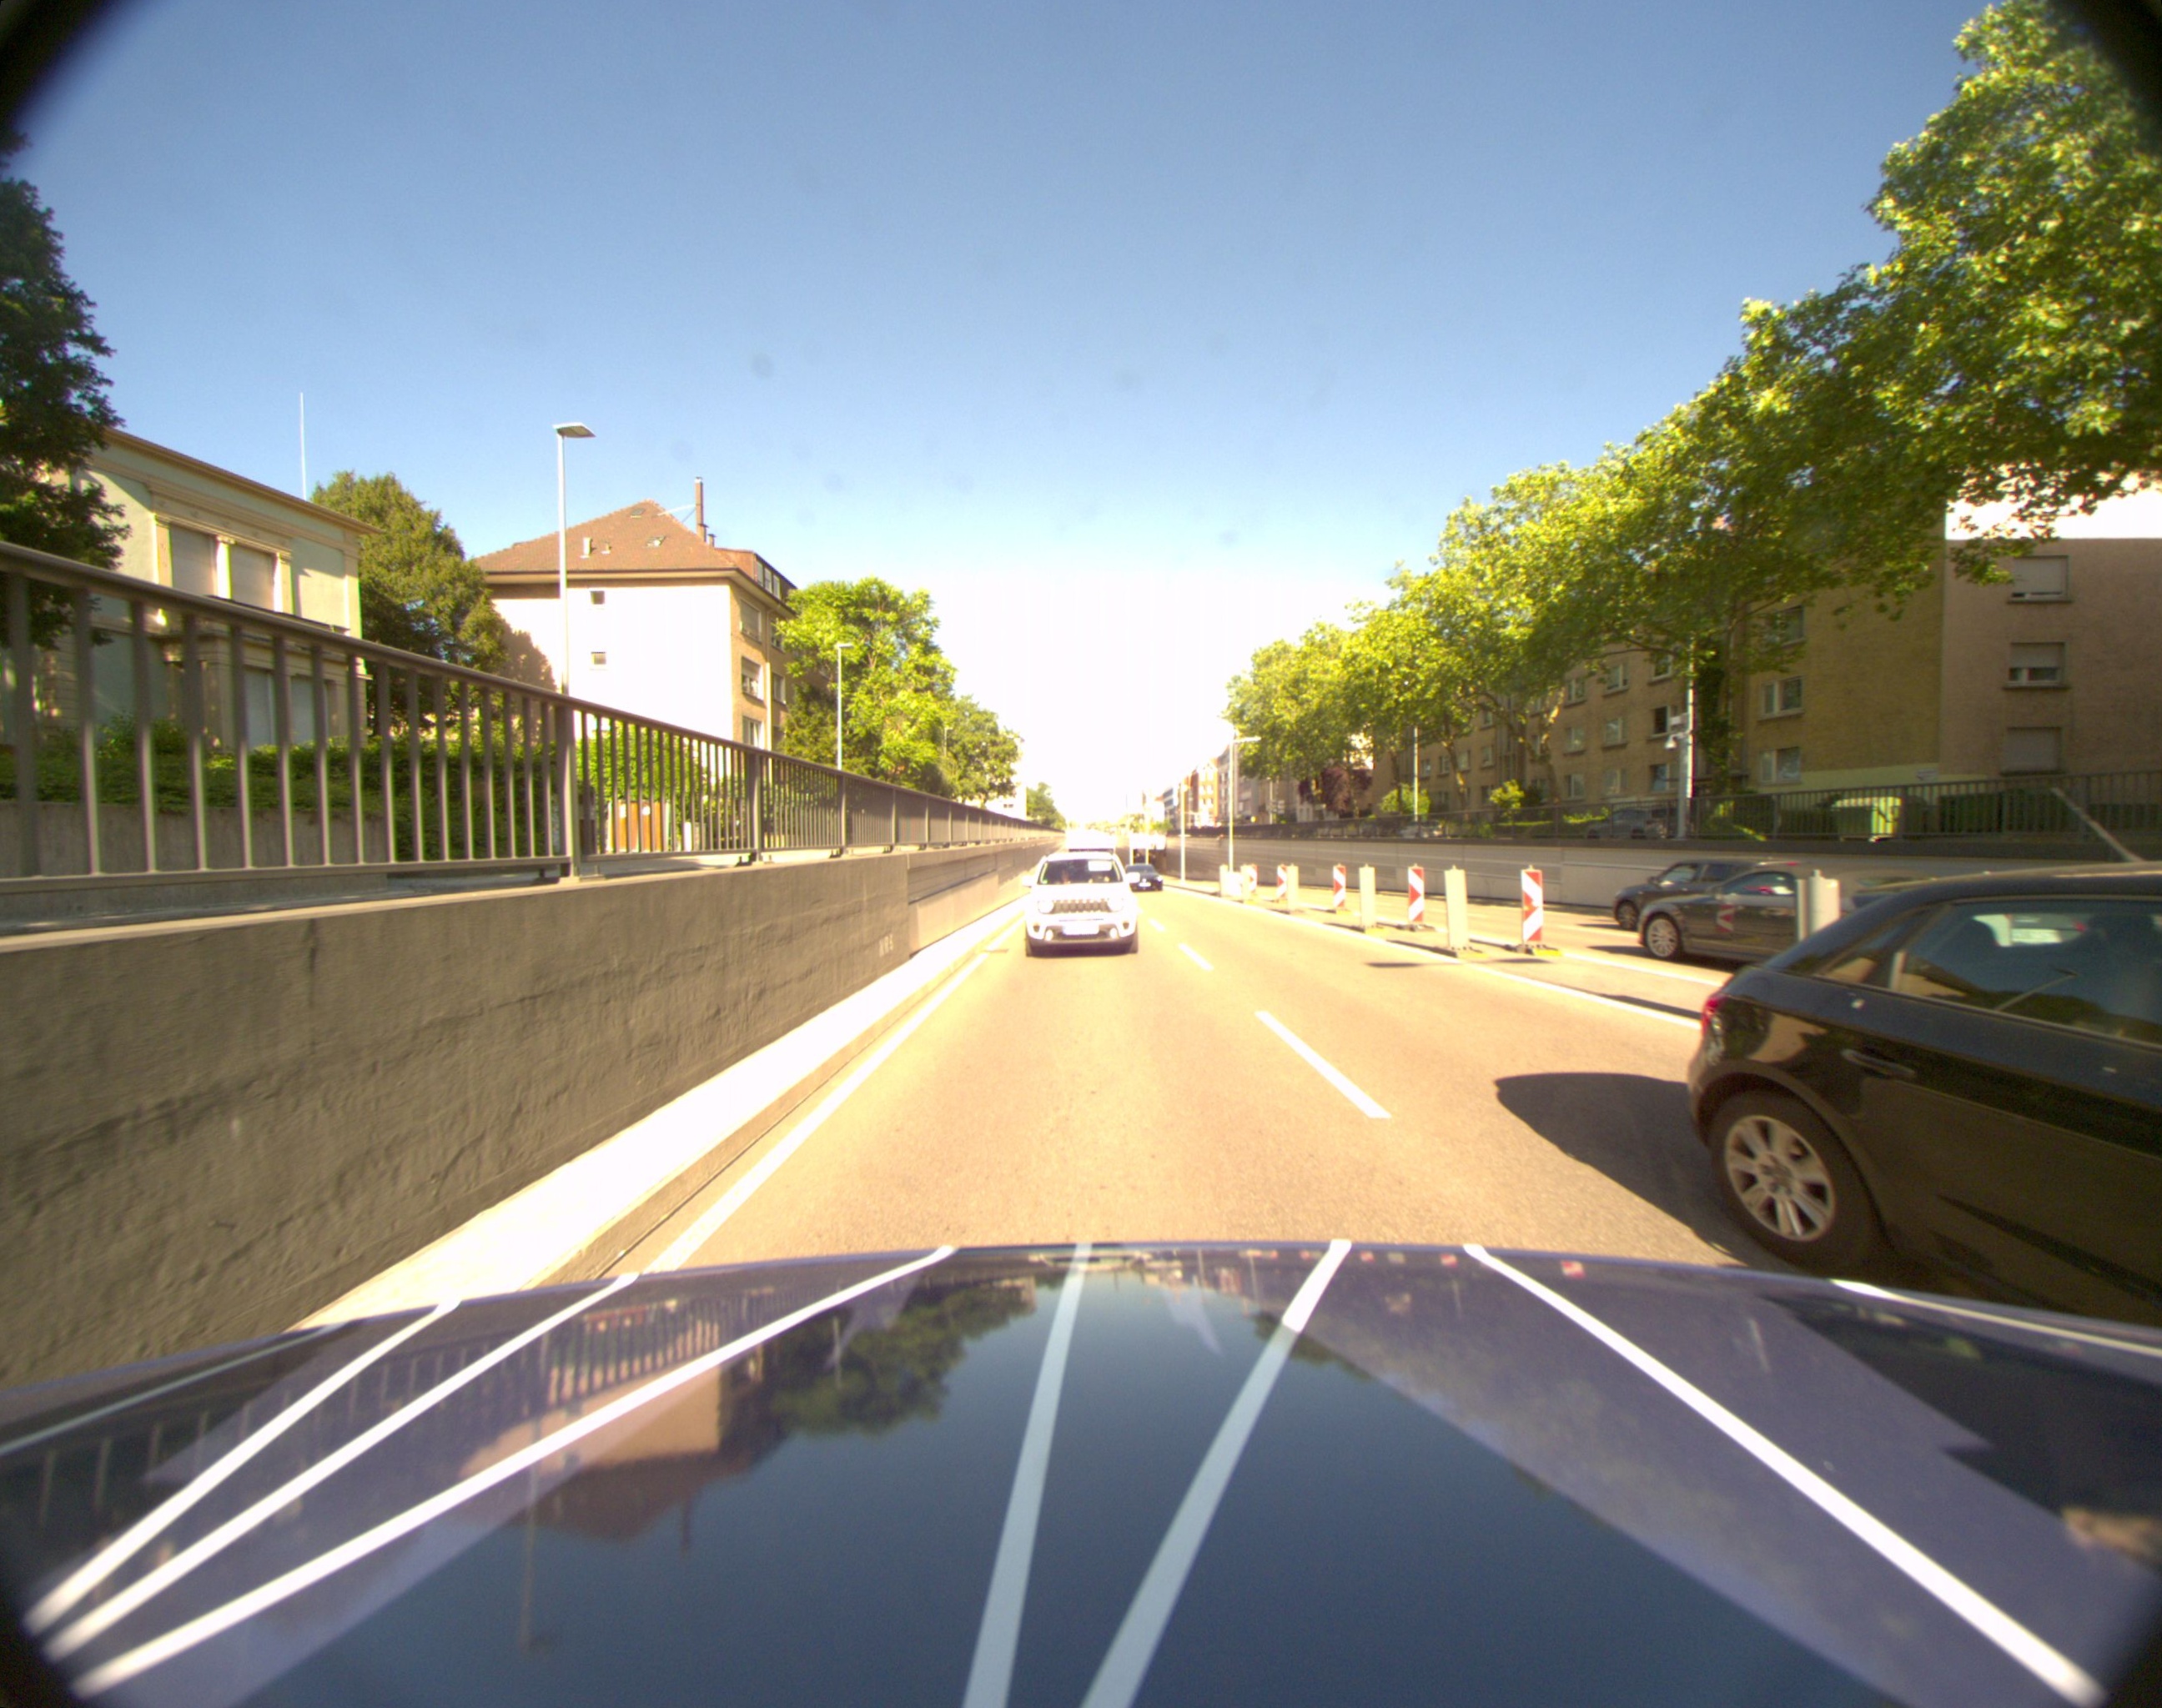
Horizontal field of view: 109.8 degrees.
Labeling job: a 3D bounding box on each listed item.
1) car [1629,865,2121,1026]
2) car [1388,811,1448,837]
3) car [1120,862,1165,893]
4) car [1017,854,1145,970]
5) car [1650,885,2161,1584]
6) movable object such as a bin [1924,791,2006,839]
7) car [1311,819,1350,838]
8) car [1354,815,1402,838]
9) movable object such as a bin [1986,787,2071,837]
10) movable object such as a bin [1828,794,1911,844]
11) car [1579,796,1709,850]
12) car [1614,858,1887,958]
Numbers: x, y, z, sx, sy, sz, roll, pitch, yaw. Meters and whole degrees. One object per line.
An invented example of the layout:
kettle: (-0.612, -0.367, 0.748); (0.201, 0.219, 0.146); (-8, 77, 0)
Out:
car: (8.599, 0.857, 8.838); (1.543, 1.292, 3.927); (2, 1, 0)
car: (22.316, -1.939, 50.464); (1.926, 1.575, 4.302); (-2, 1, -2)
car: (3.126, 1.166, 39.463); (1.998, 1.407, 4.000); (-2, 0, 0)
car: (0.006, 0.869, 13.347); (1.855, 1.658, 3.970); (-2, 0, 0)
car: (3.237, 0.898, 1.216); (1.700, 1.410, 3.887); (-2, 1, 0)
movable object such as a bin: (28.543, -1.246, 24.562); (1.317, 1.476, 1.147); (-2, 1, -2)
car: (22.344, -2.238, 68.140); (1.926, 1.575, 4.302); (-2, 1, -2)
car: (22.851, -2.081, 58.609); (1.926, 1.575, 4.302); (-2, 1, -2)
movable object such as a bin: (30.306, -1.326, 24.330); (1.317, 1.476, 1.147); (-2, 1, -2)
movable object such as a bin: (24.899, -1.089, 24.032); (1.209, 1.476, 1.357); (-3, 1, -8)
car: (22.607, -1.224, 30.768); (1.970, 1.949, 4.413); (-2, 1, 0)
car: (11.634, 0.849, 13.587); (1.543, 1.456, 3.717); (2, 0, 0)
